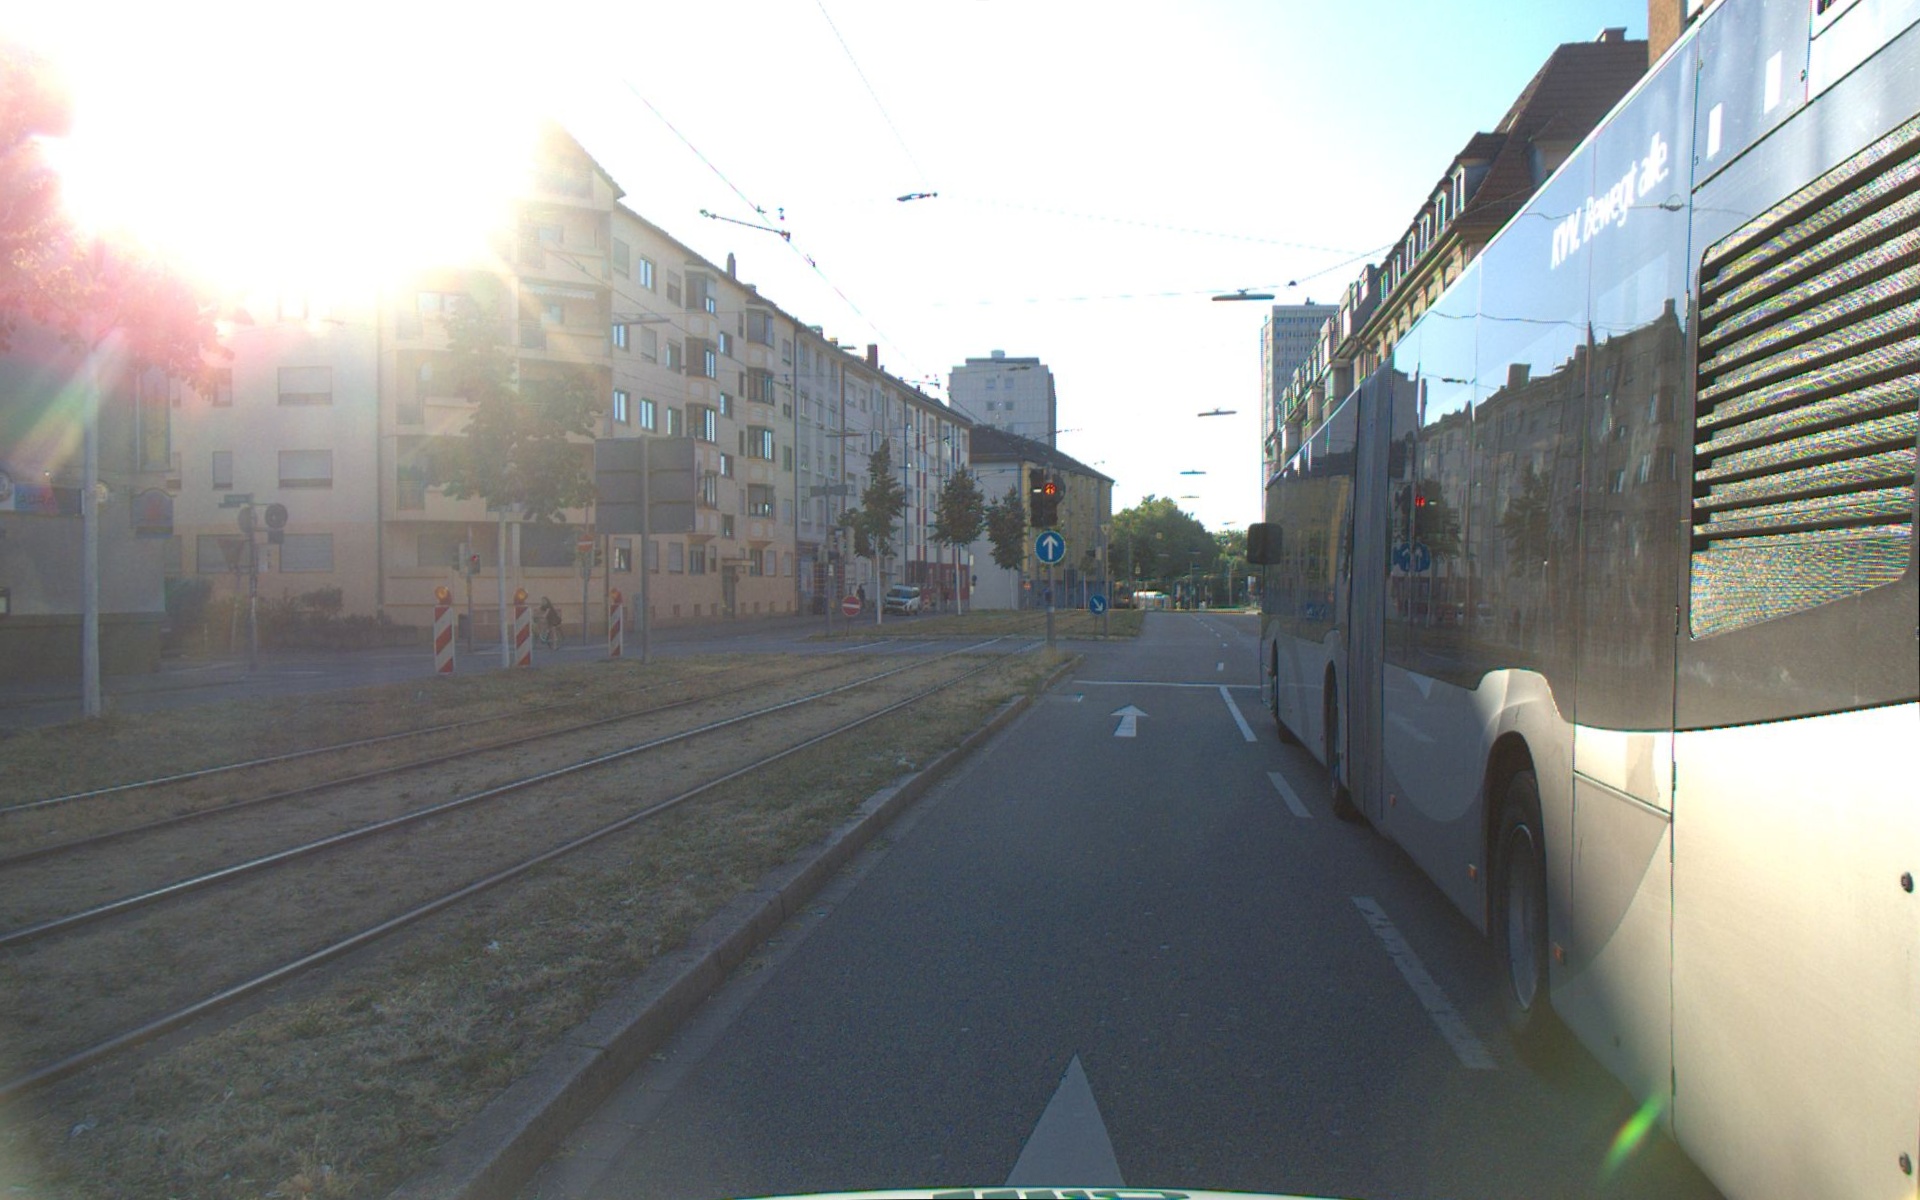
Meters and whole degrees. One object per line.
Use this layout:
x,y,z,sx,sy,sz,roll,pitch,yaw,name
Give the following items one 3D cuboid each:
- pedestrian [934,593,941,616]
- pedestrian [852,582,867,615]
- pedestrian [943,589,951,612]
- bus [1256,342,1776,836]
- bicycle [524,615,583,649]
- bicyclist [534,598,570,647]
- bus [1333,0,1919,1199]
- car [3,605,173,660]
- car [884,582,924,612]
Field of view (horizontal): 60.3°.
-1.672,0.324,123.879,0.485,1.687,0.409,-1,0,8,pedestrian
-6.261,-0.106,103.194,0.770,2.049,0.891,0,0,4,pedestrian
-0.983,0.026,124.126,0.485,1.687,0.409,-1,0,8,pedestrian
4.338,-0.115,15.110,2.680,3.109,9.138,1,0,7,bus
-12.567,0.978,51.153,0.519,1.001,1.875,-1,0,37,bicycle
-12.618,0.687,51.144,0.519,1.472,0.961,-1,0,37,bicyclist
3.243,-0.073,6.211,2.680,3.109,8.860,1,0,7,bus
-24.949,0.905,47.413,3.879,1.465,1.789,-1,0,-3,car
-3.615,-0.190,106.795,1.773,1.829,4.248,1,0,9,car
